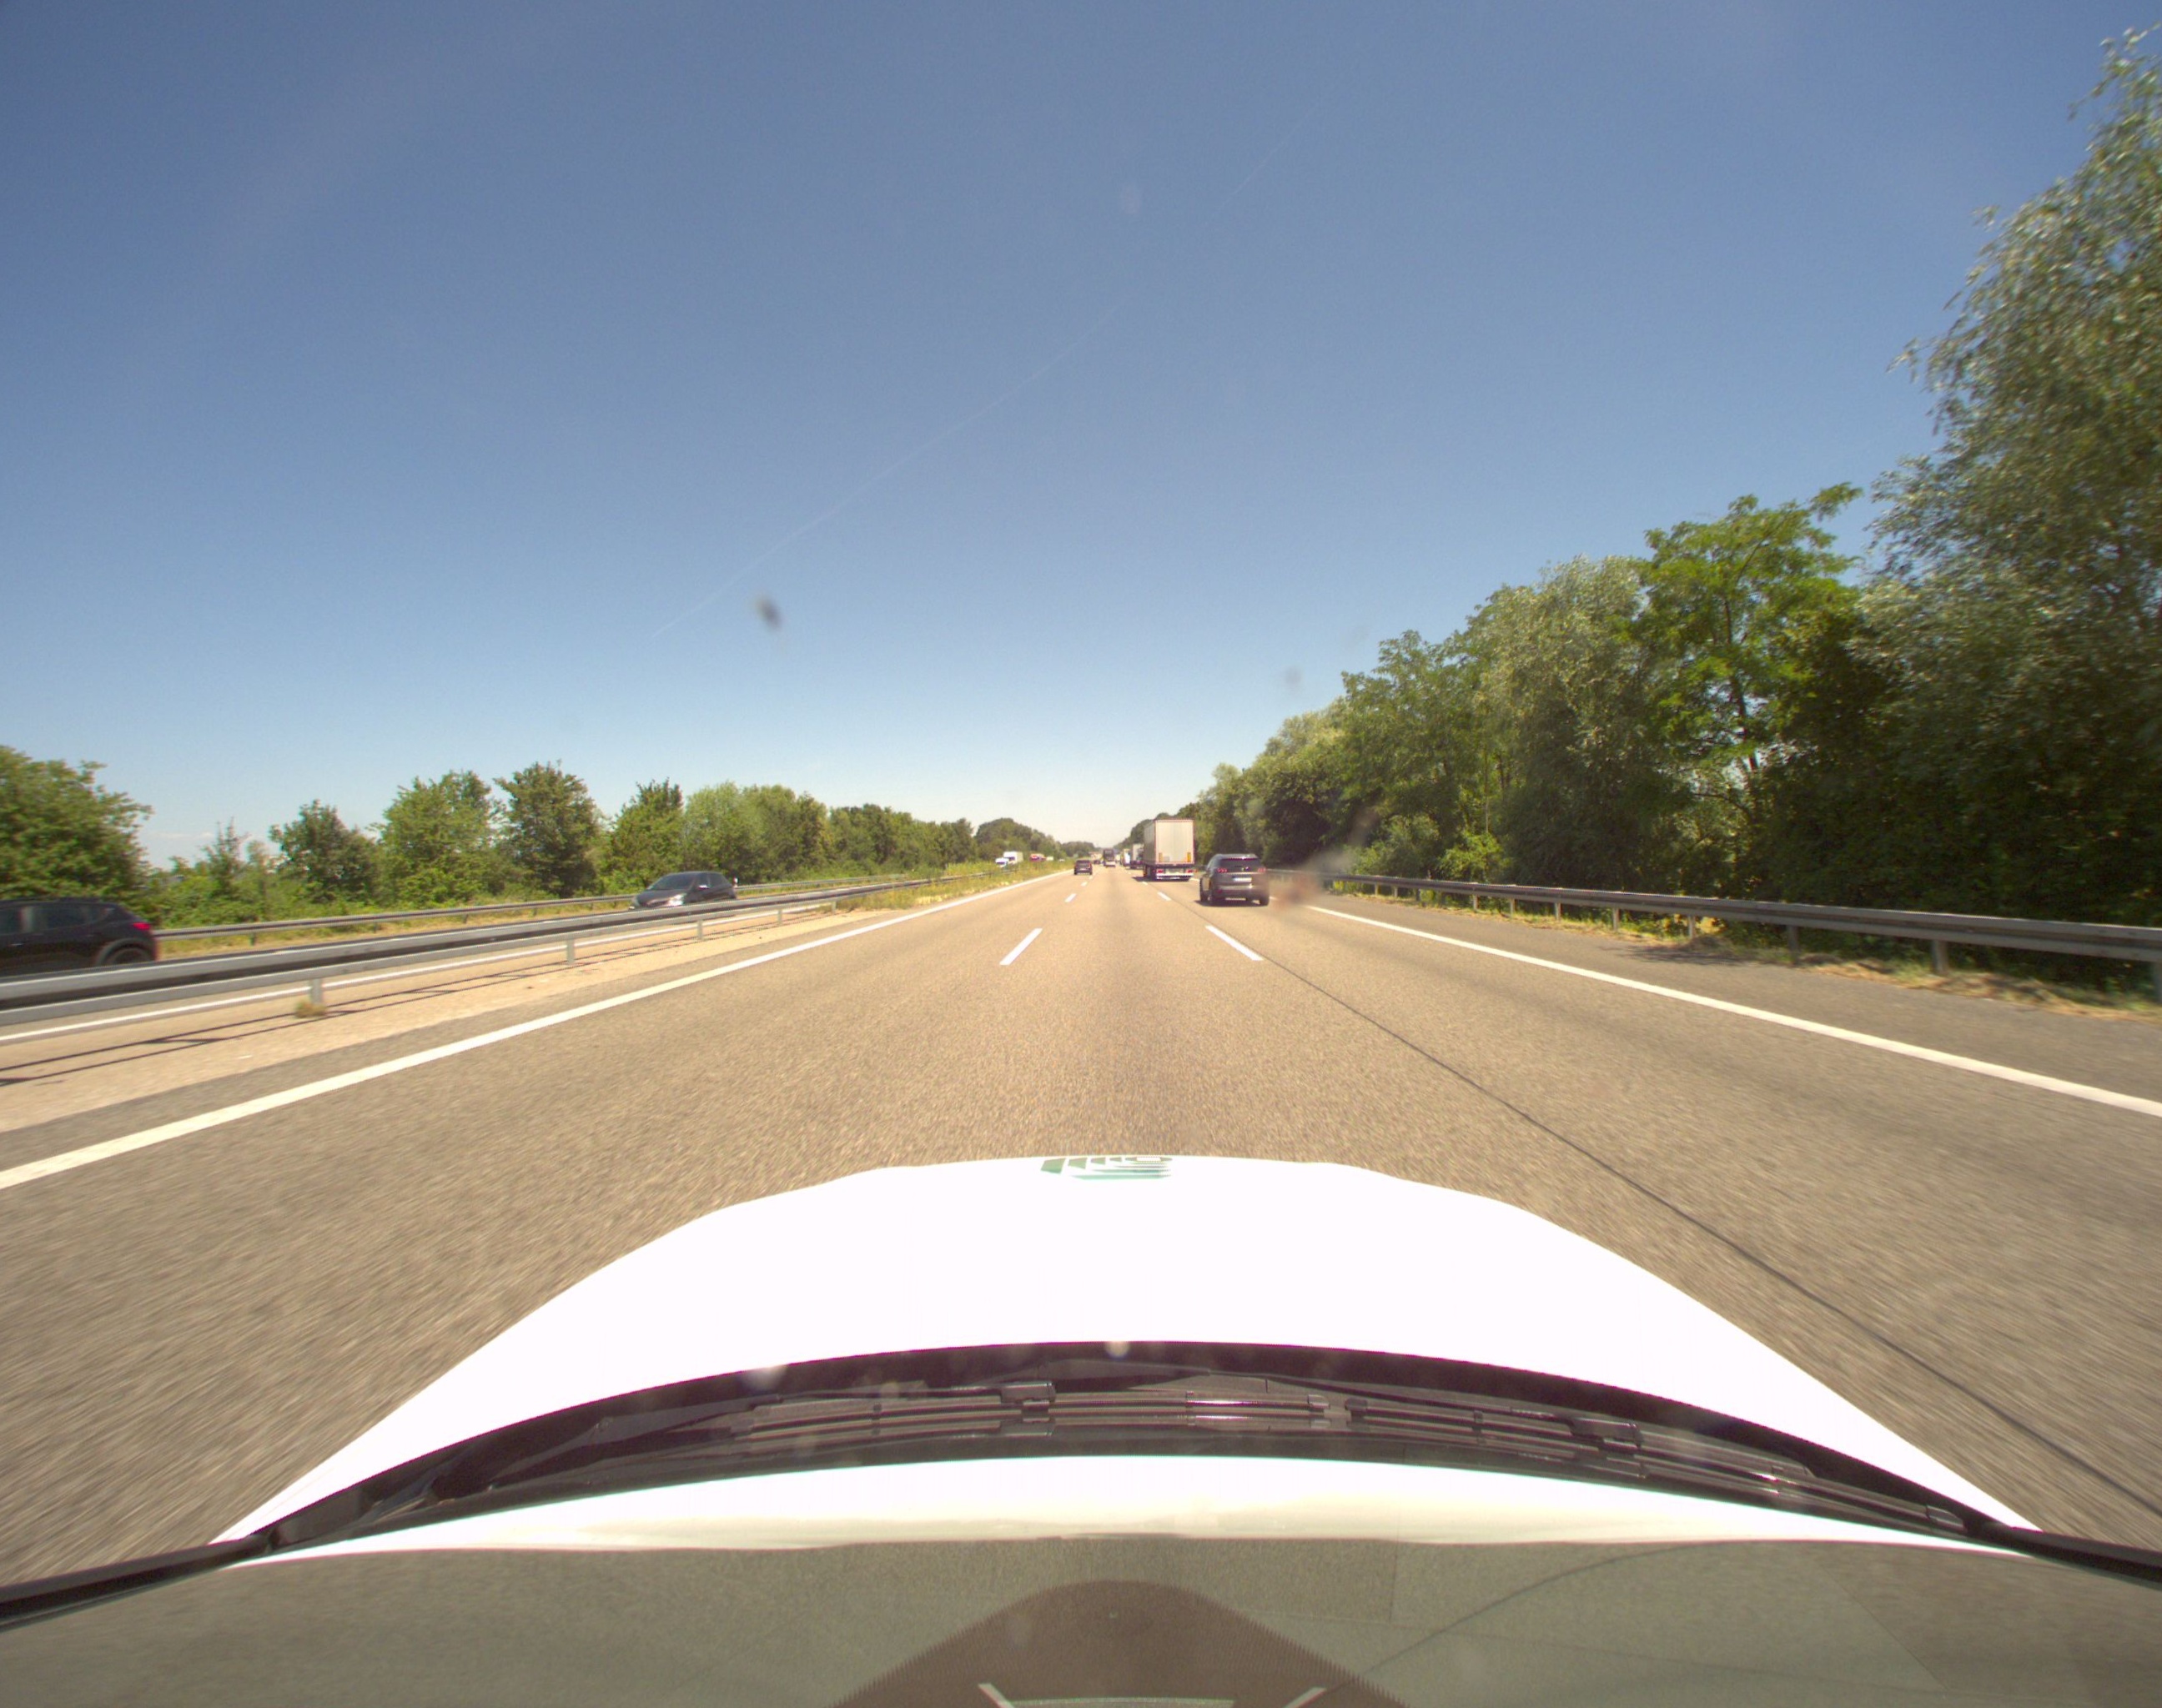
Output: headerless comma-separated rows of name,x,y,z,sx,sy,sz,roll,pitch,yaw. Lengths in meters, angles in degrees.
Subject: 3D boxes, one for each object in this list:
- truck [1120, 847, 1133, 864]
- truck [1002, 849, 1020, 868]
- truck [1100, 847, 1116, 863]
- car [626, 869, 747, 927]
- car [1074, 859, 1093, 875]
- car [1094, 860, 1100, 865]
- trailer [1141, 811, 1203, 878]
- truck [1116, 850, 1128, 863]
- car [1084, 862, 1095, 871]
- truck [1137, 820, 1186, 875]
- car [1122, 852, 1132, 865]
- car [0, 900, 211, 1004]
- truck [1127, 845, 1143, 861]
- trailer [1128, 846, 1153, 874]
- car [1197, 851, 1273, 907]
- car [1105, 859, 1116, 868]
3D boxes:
truck,10.339,0.219,184.280,2.781,3.725,7.114,0,0,3
truck,-15.029,0.944,175.111,3.060,4.111,6.528,0,0,1
truck,6.556,0.284,194.739,3.652,3.725,7.114,0,0,3
car,-11.778,1.261,24.627,1.547,1.462,4.048,-2,0,2
car,0.251,1.259,81.660,1.752,1.531,4.288,0,1,2
car,5.110,2.579,260.441,1.900,1.531,4.288,0,1,2
trailer,6.228,-0.558,58.095,3.421,4.181,13.639,0,0,2
truck,12.076,0.808,240.673,3.474,3.725,7.114,0,0,3
car,1.508,2.118,141.172,1.893,1.531,4.086,0,1,2
truck,6.336,-0.442,65.018,3.451,4.177,6.847,0,-1,2
car,8.989,0.900,160.341,1.900,2.425,4.288,0,1,2
car,-17.033,1.591,12.729,1.856,1.401,4.533,-3,0,1
truck,12.860,-0.364,194.798,3.652,3.725,7.114,0,0,3
trailer,8.539,0.799,117.588,3.111,3.926,9.939,0,0,1
car,4.952,0.747,26.731,1.838,1.629,4.137,-2,0,2
car,5.348,1.753,147.747,1.893,1.531,4.086,0,1,2
